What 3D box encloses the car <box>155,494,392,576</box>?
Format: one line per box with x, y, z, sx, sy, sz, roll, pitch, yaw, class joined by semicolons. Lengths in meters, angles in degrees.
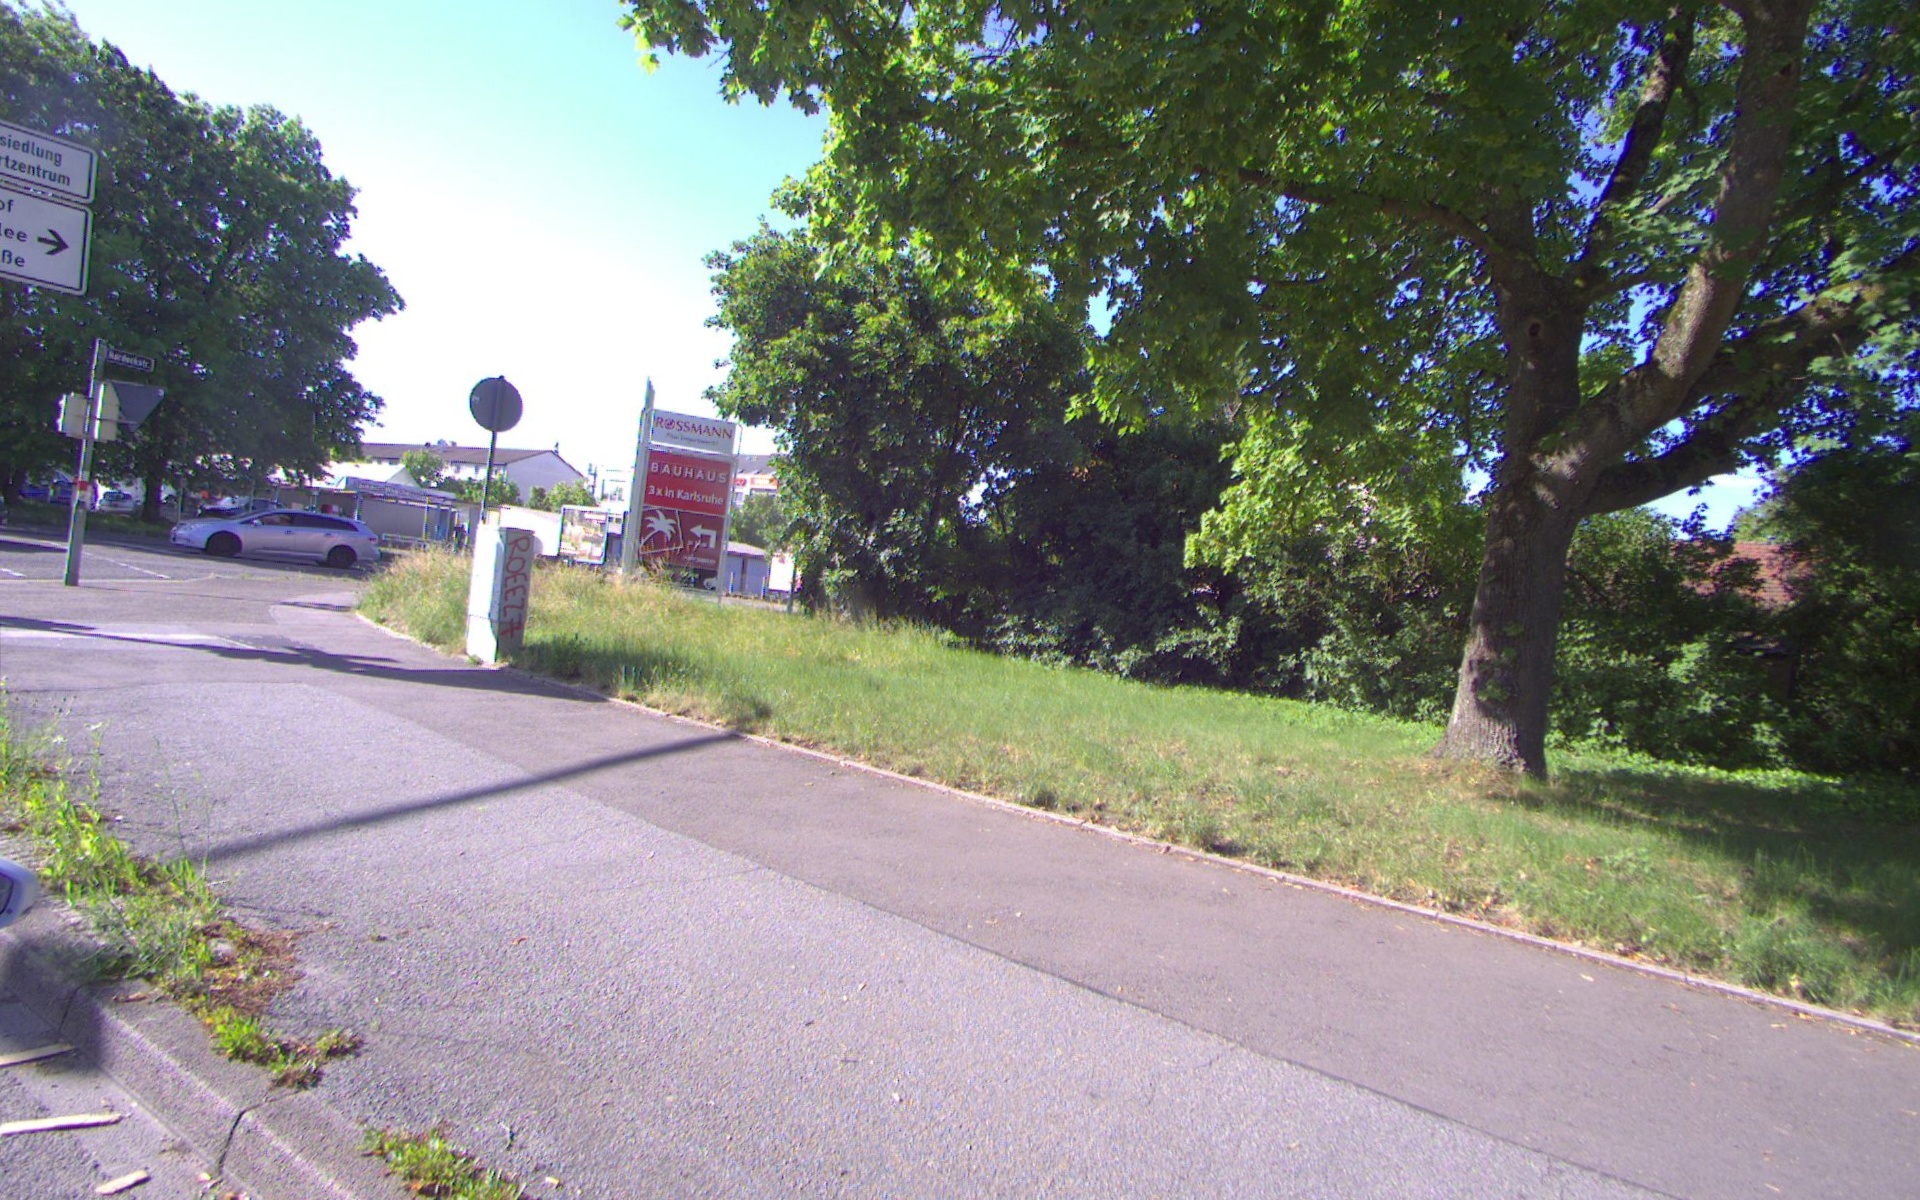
-18.645;-1.735;27.524;1.973;1.504;4.994;7;0;43;car

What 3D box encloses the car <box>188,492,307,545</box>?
-30.293;-3.429;42.915;1.712;1.701;4.001;7;0;9;car

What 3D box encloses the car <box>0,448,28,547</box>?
-22.171;-2.406;20.021;4.968;2.017;1.899;7;1;-35;car

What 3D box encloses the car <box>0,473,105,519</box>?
-41.987;-4.769;46.155;1.712;1.537;3.902;7;0;9;car

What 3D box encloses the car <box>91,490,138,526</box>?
-47.270;-5.153;56.219;1.734;1.701;3.951;6;1;-43;car

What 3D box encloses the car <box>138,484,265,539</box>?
-32.331;-3.729;43.037;1.962;1.772;4.001;7;0;9;car

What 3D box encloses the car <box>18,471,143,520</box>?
-39.176;-4.628;44.930;1.712;1.537;3.902;7;0;9;car
